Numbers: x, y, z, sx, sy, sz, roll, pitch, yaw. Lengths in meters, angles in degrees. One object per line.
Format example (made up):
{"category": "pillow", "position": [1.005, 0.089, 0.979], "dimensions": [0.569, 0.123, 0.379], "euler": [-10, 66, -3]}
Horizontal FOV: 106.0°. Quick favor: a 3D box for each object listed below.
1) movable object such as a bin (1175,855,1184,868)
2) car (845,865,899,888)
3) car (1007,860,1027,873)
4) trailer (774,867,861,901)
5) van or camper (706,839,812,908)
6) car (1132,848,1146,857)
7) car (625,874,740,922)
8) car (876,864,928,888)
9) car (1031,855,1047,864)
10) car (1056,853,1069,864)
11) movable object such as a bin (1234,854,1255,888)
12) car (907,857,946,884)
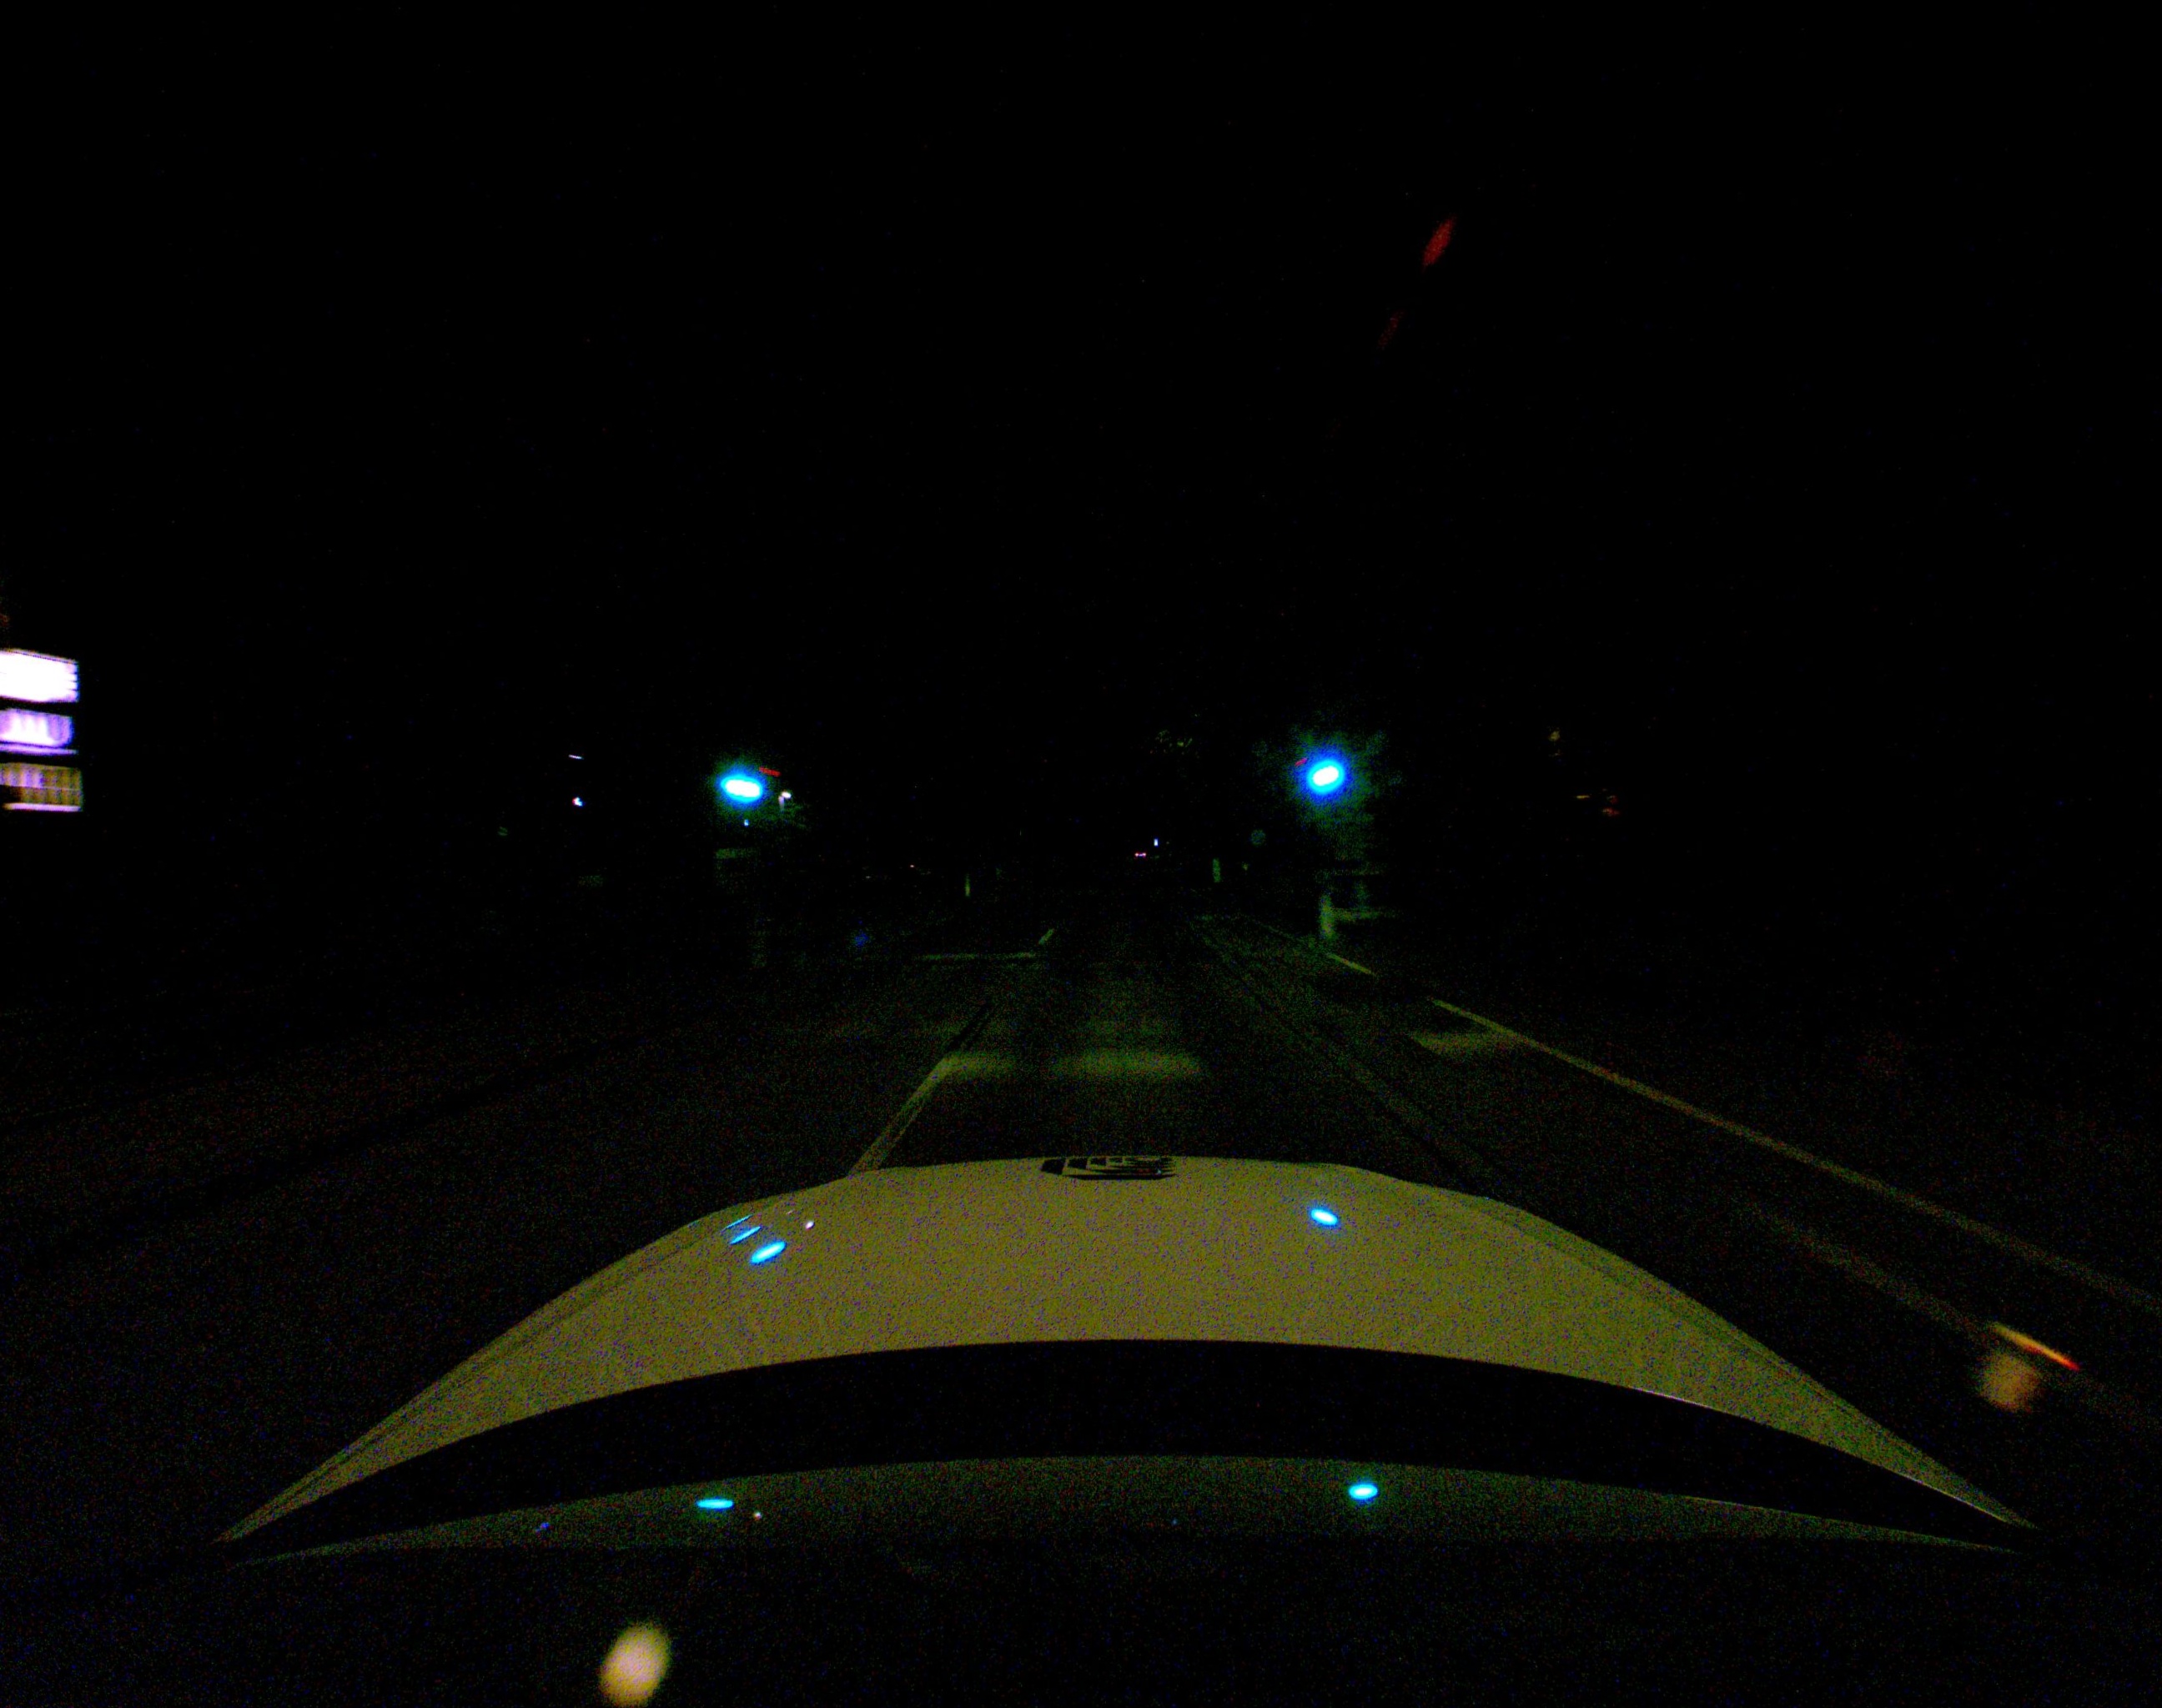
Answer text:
{"category": "movable object such as a bin", "position": [9.728, 0.732, 80.223], "dimensions": [0.829, 1.181, 0.830], "euler": [-2, 0, 7]}
{"category": "car", "position": [-13.255, 1.411, 51.754], "dimensions": [3.019, 1.326, 1.533], "euler": [-2, 0, -1]}
{"category": "car", "position": [-8.666, 1.736, 111.416], "dimensions": [1.985, 1.628, 4.682], "euler": [-2, 0, 4]}
{"category": "trailer", "position": [-13.838, 1.567, 43.143], "dimensions": [2.405, 1.374, 4.667], "euler": [-6, -1, 9]}
{"category": "van or camper", "position": [-14.174, 0.803, 36.285], "dimensions": [2.265, 2.647, 5.663], "euler": [-4, 0, 0]}
{"category": "car", "position": [10.434, -0.249, 146.670], "dimensions": [2.154, 1.583, 4.014], "euler": [-2, 0, 1]}
{"category": "car", "position": [-14.449, 1.547, 29.850], "dimensions": [1.639, 1.339, 4.547], "euler": [-6, 0, 3]}
{"category": "car", "position": [-12.515, 1.525, 57.230], "dimensions": [1.892, 1.522, 5.181], "euler": [-2, 0, 7]}
{"category": "car", "position": [-6.748, 0.940, 131.077], "dimensions": [1.985, 1.338, 5.438], "euler": [-2, 0, 4]}
{"category": "car", "position": [-3.599, 0.867, 161.640], "dimensions": [2.082, 2.013, 4.004], "euler": [-6, 0, 4]}
{"category": "movable object such as a bin", "position": [6.123, 0.633, 30.504], "dimensions": [0.719, 1.201, 0.722], "euler": [-2, 0, 11]}
{"category": "car", "position": [-11.967, 1.255, 63.297], "dimensions": [1.850, 1.904, 4.882], "euler": [-2, 0, 2]}
